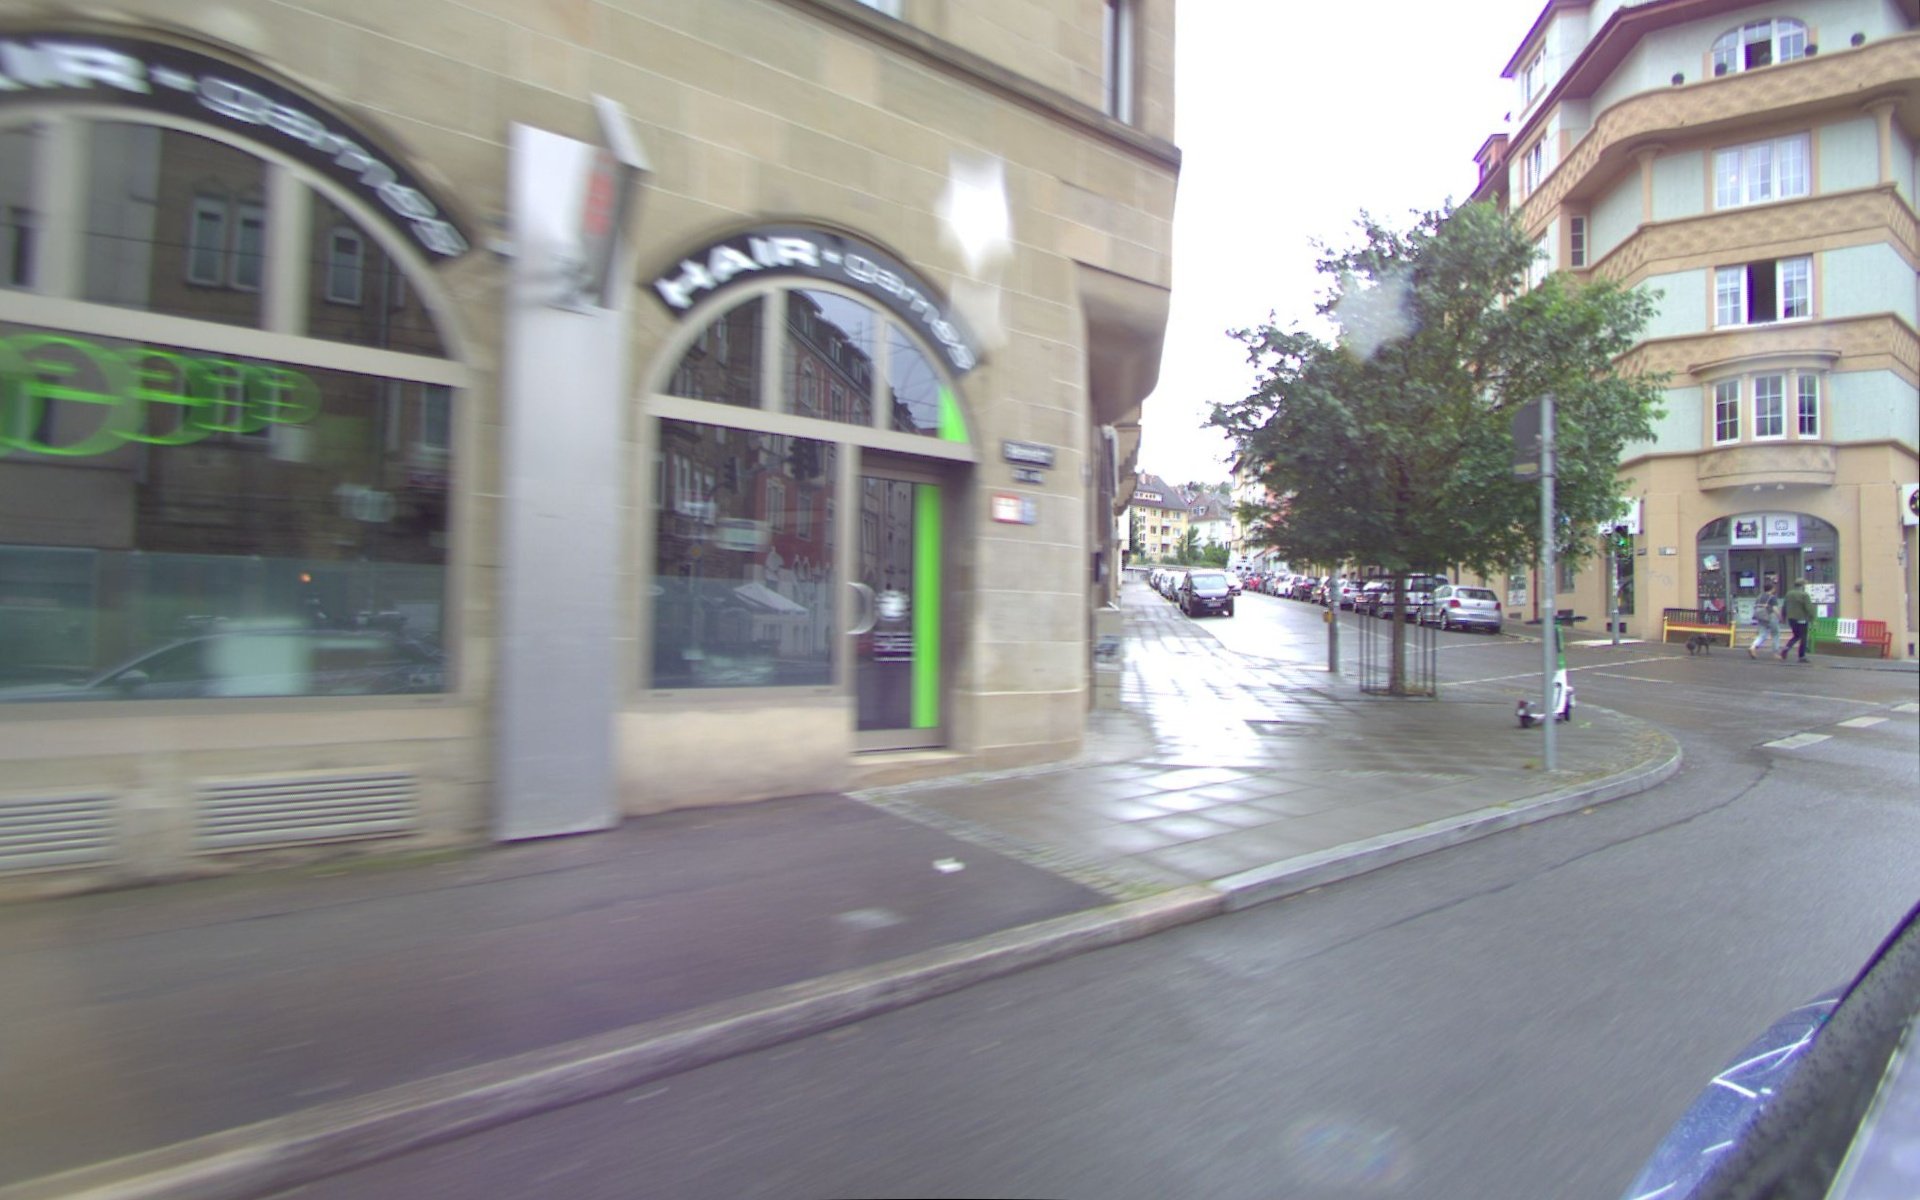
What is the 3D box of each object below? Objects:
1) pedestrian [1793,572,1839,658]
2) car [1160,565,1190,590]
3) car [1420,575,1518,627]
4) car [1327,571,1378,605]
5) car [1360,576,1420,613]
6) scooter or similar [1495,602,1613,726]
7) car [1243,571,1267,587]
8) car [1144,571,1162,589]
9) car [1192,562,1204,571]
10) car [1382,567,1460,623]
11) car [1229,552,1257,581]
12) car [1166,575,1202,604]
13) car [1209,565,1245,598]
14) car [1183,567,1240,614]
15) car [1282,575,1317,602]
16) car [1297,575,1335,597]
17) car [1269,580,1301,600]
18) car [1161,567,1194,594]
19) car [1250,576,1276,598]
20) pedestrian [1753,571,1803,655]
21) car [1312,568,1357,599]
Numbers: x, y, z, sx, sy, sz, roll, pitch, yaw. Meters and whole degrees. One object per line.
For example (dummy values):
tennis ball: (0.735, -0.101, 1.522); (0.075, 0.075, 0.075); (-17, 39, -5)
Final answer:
pedestrian: (18.610, 0.313, 21.998); (0.875, 1.811, 0.595); (0, 1, -40)
car: (14.449, -1.503, 68.226); (1.718, 1.528, 3.990); (-4, 0, 9)
car: (16.063, -0.009, 32.092); (1.663, 1.478, 3.526); (3, 1, 8)
car: (18.235, -0.570, 47.122); (1.423, 1.443, 3.291); (-2, 1, 8)
car: (17.365, -0.243, 40.970); (1.423, 1.443, 3.291); (0, 1, 8)
scooter or similar: (6.371, 0.641, 10.834); (1.526, 1.225, 0.639); (0, 0, -41)
car: (23.571, -1.650, 80.948); (1.423, 1.187, 3.277); (-2, 1, 8)
car: (22.972, -2.377, 120.229); (1.970, 2.039, 3.985); (1, 1, 13)
car: (35.351, -4.961, 150.197); (1.423, 1.187, 3.277); (-2, 1, 8)
car: (16.752, -0.207, 36.932); (1.578, 1.867, 3.547); (-2, 1, 8)
car: (25.561, -2.996, 91.533); (1.918, 2.488, 3.804); (1, 1, 8)
car: (12.732, -0.607, 57.683); (1.718, 1.528, 3.989); (1, 1, 9)
car: (16.980, -1.167, 64.421); (1.718, 1.895, 3.990); (-4, 0, 9)
car: (10.183, -0.432, 41.248); (1.717, 1.747, 4.348); (-2, 1, 8)
car: (20.665, -0.708, 61.742); (1.423, 1.594, 3.277); (-2, 1, 8)
car: (20.016, -0.780, 57.002); (1.423, 1.139, 3.071); (-2, 1, 8)
car: (21.203, -0.681, 66.156); (1.423, 1.187, 3.277); (-2, 1, 8)
car: (13.600, -1.238, 63.353); (1.718, 1.528, 3.990); (-4, 0, 9)
car: (23.014, -1.001, 76.923); (1.423, 1.594, 3.277); (-2, 1, 8)
pedestrian: (18.220, 0.271, 22.550); (0.886, 1.811, 0.683); (0, 1, -40)
car: (19.149, -0.847, 51.867); (1.423, 1.443, 3.291); (-2, 1, 8)
